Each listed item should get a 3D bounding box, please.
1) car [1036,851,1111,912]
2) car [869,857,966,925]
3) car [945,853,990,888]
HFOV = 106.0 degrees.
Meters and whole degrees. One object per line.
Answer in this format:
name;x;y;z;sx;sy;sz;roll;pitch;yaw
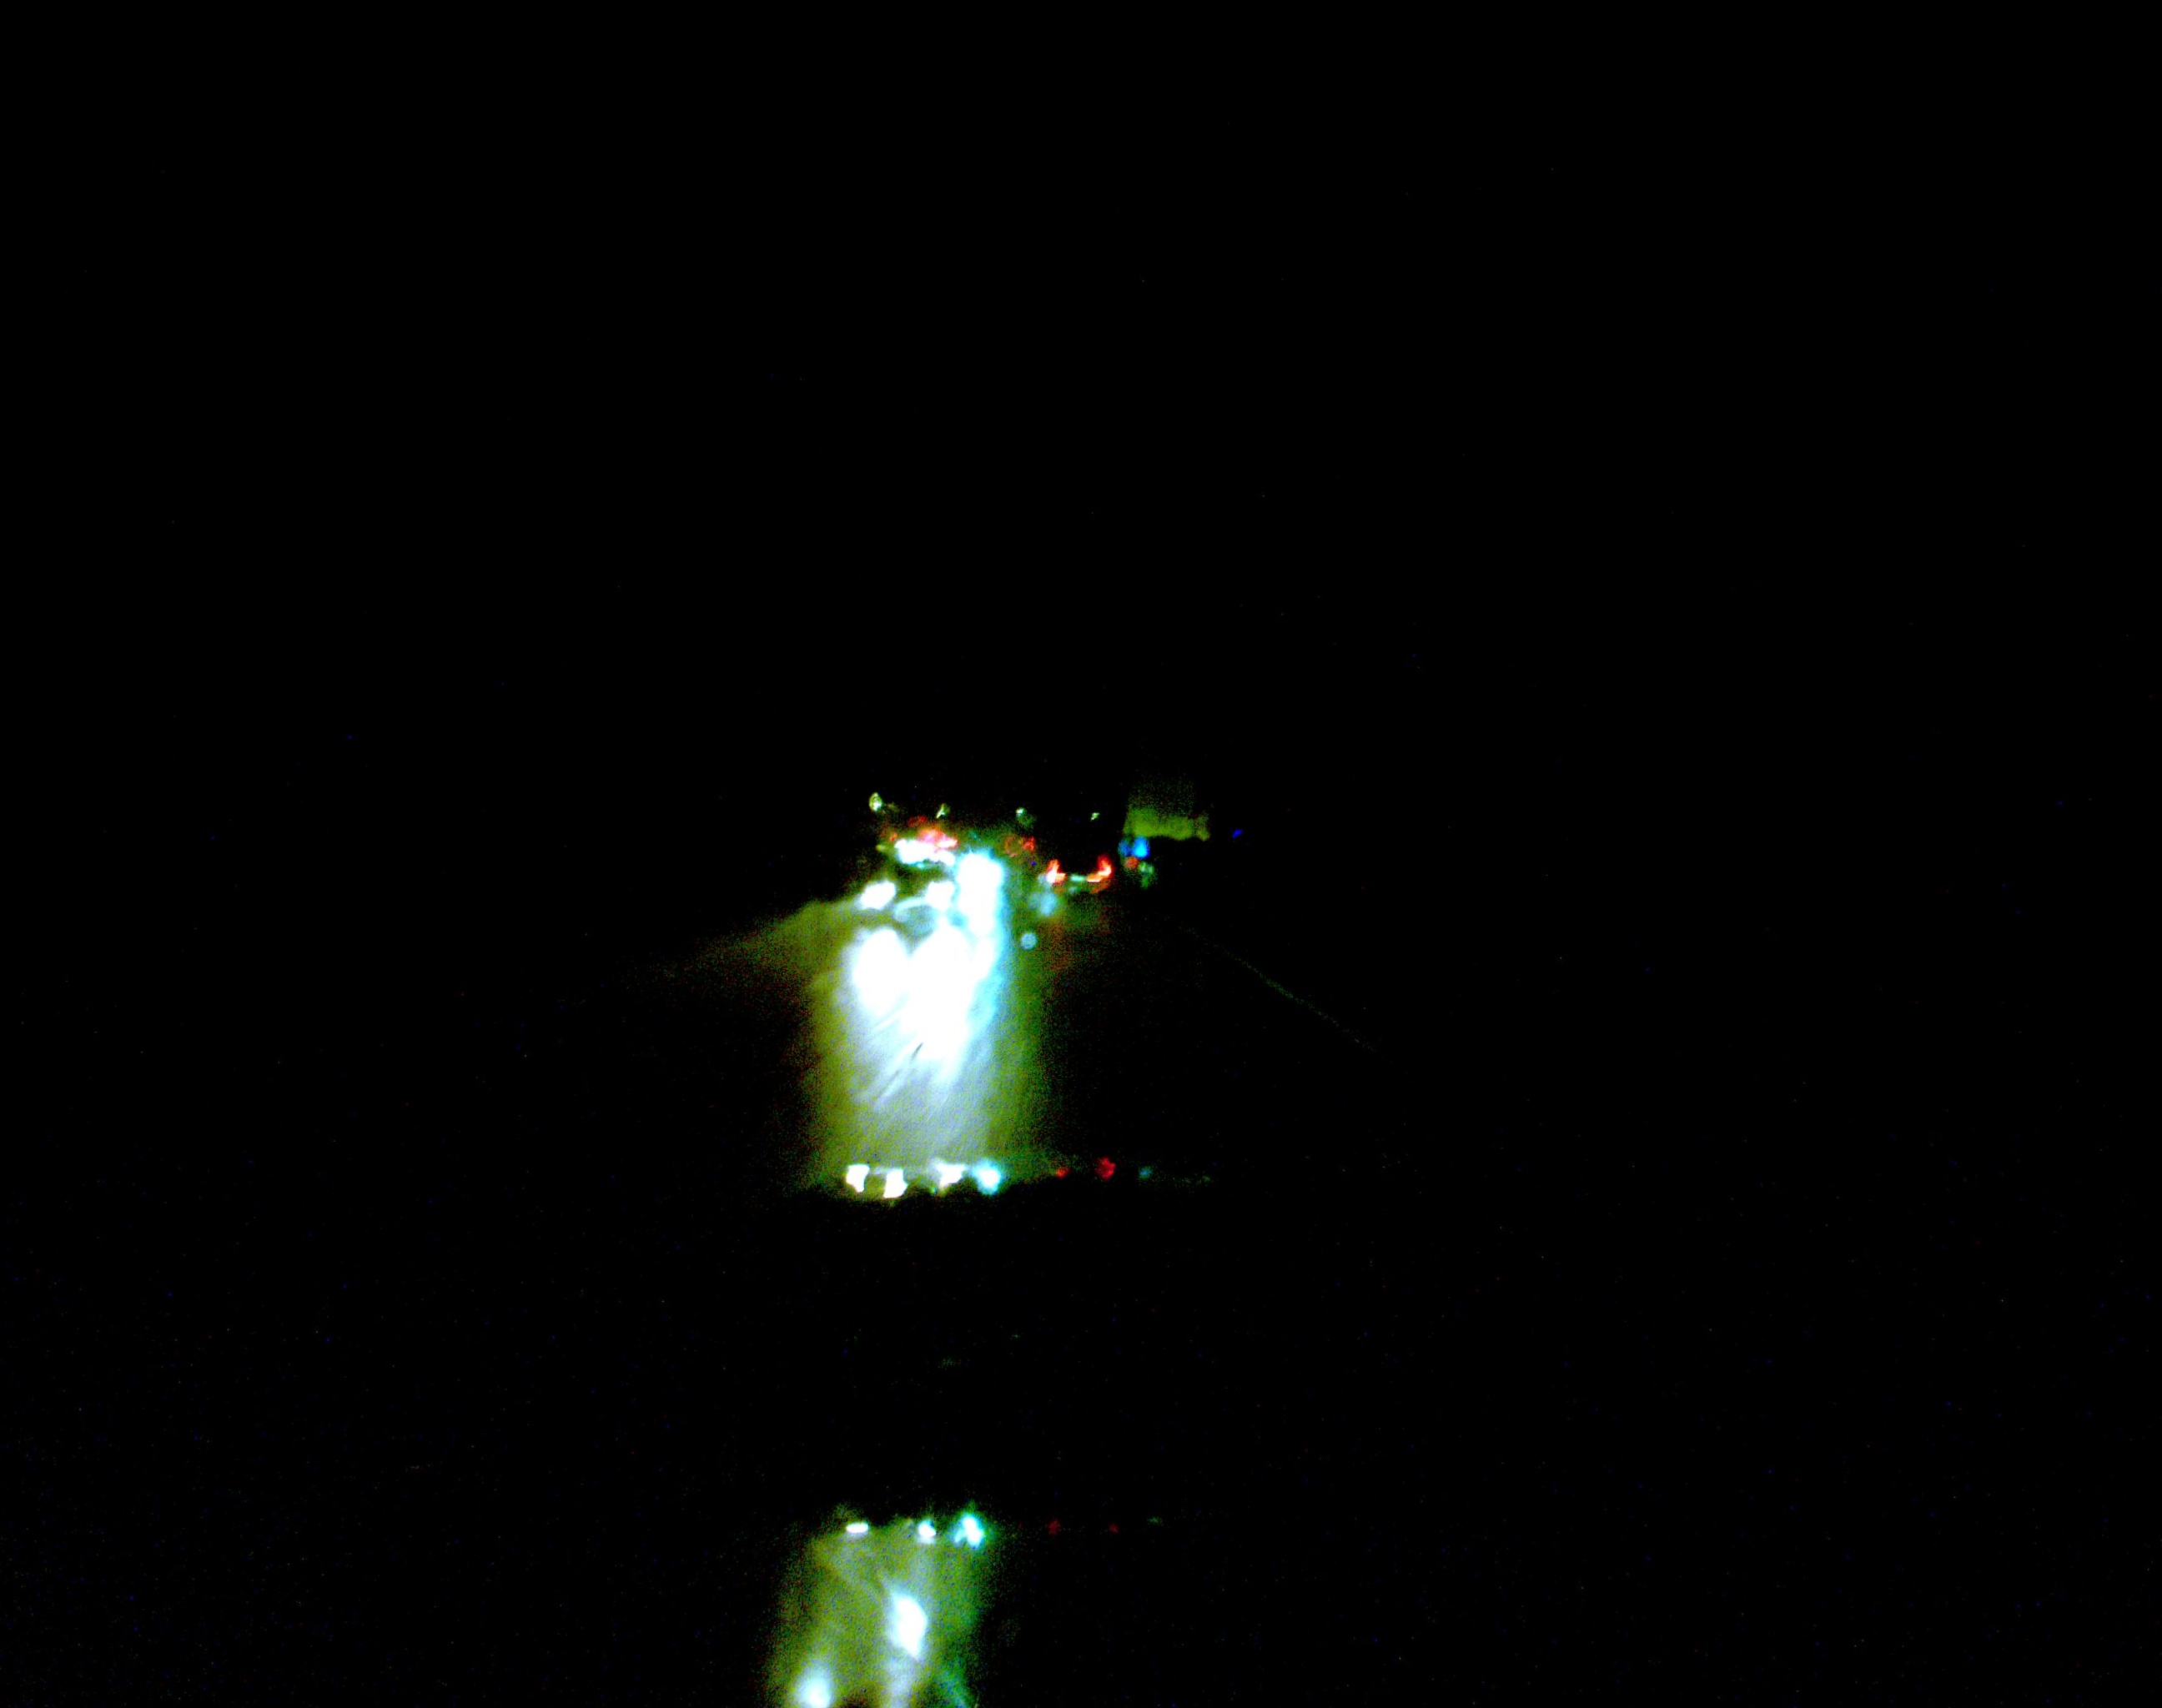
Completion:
car;-0.238;0.744;24.468;1.988;1.628;4.982;-1;0;-1
car;-3.976;0.840;20.418;1.767;1.483;4.375;-1;0;-3
car;-4.882;0.669;35.235;1.770;1.389;4.102;-1;0;-7
